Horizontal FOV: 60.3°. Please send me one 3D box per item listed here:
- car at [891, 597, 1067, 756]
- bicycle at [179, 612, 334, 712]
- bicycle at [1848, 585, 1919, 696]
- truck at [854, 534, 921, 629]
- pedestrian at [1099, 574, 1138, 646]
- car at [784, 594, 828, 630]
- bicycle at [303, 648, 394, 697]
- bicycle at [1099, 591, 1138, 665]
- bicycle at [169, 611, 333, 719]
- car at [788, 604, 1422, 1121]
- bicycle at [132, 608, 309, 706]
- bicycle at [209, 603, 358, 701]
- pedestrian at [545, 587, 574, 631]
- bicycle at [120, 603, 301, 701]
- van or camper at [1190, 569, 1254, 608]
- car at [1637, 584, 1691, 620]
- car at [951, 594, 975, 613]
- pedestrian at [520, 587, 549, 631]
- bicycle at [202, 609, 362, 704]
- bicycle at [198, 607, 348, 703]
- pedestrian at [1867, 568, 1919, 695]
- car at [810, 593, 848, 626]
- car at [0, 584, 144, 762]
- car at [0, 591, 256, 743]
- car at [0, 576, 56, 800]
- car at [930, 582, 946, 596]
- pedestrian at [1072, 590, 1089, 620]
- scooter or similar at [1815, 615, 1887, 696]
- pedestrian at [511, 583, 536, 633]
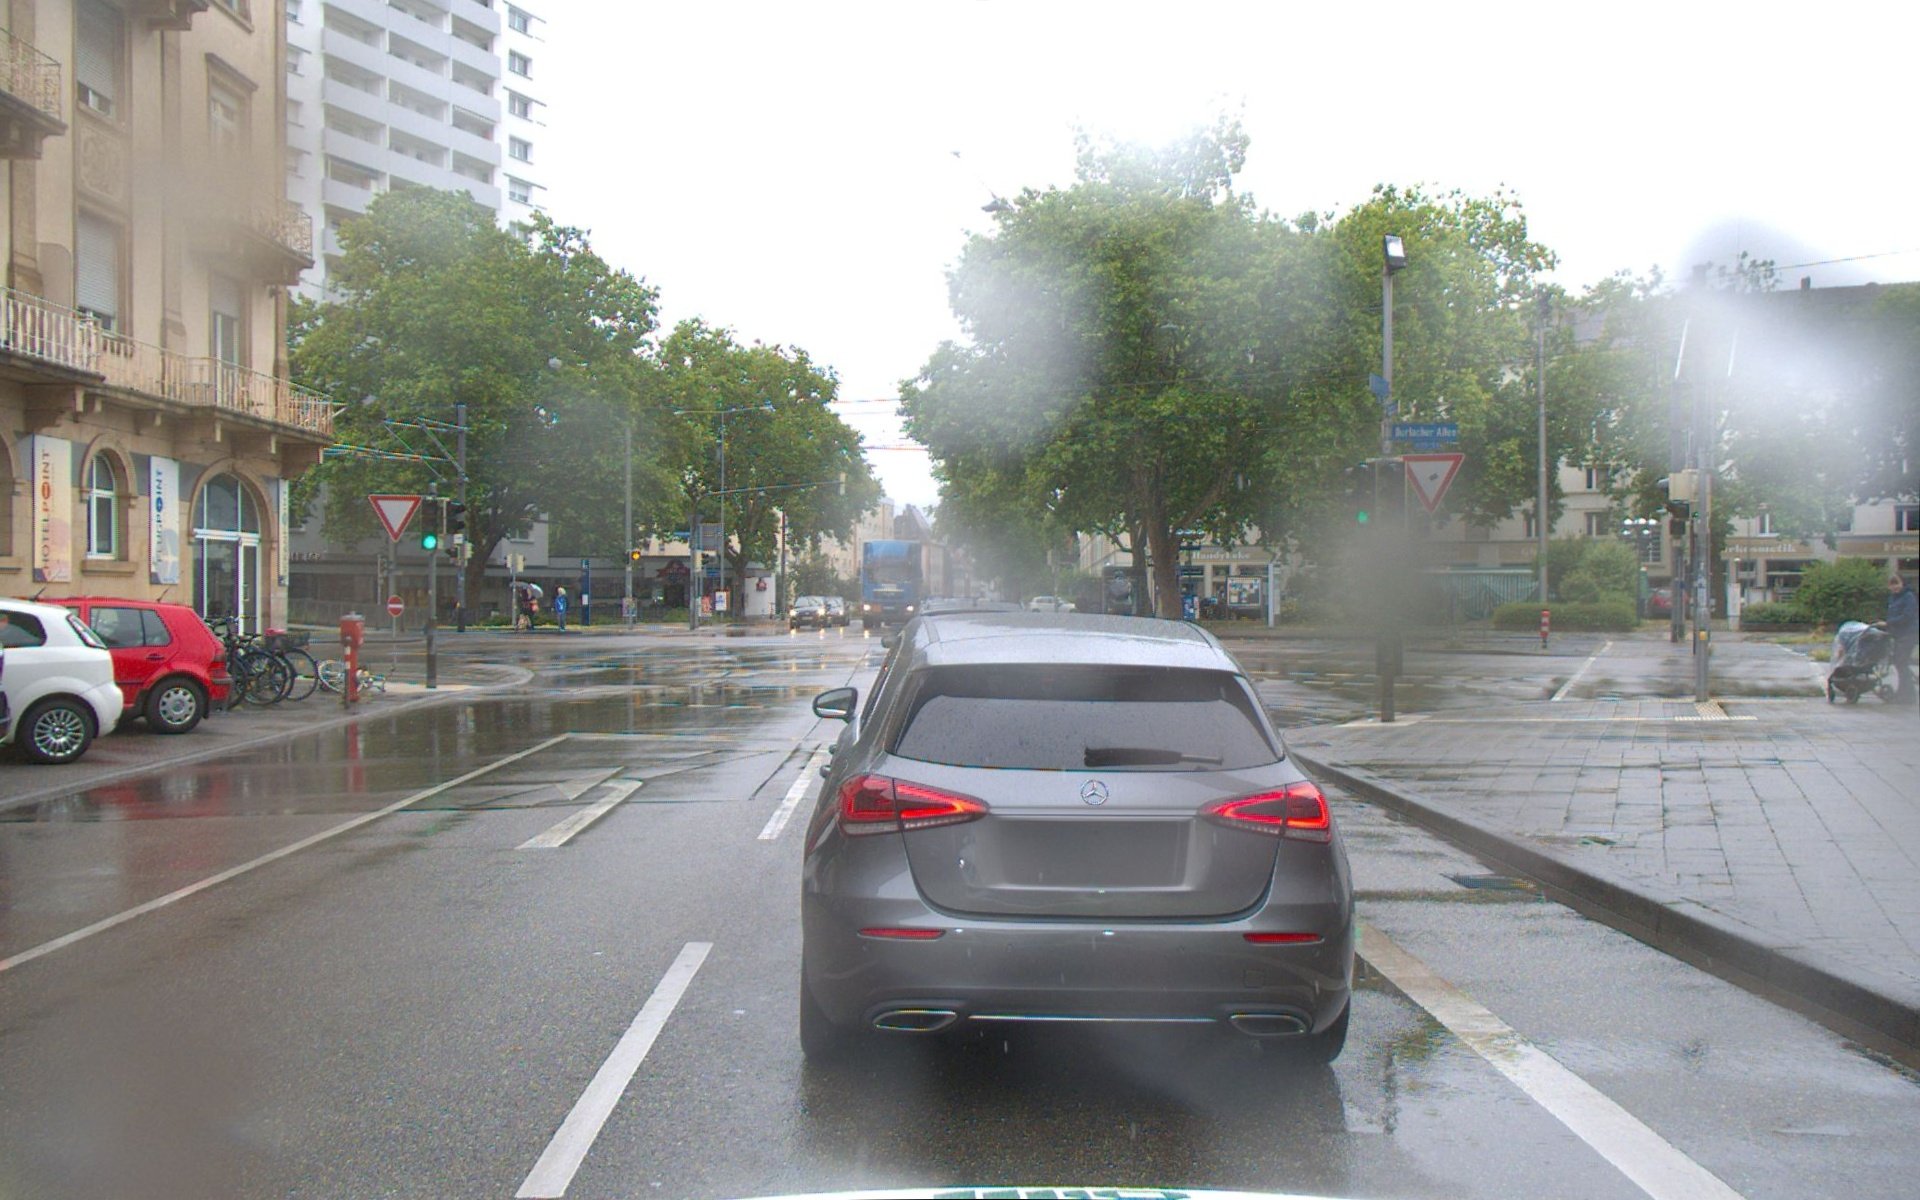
[{"bbox_3d":[0.145,0.691,17.017,1.574,1.396,3.999,-1,0,-1],"label":"car"},{"bbox_3d":[-9.352,0.824,22.018,1.774,1.205,0.475,3,0,-3],"label":"bicycle"},{"bbox_3d":[13.087,0.540,22.678,0.522,1.492,1.935,-1,0,-10],"label":"bicycle"},{"bbox_3d":[-3.253,-0.813,76.745,2.788,4.096,10.313,-1,0,-1],"label":"truck"},{"bbox_3d":[3.191,0.196,33.295,0.728,1.422,1.048,-1,0,6],"label":"pedestrian"},{"bbox_3d":[-6.979,0.539,75.077,1.708,1.573,3.778,-1,0,-1],"label":"car"},{"bbox_3d":[-9.317,1.096,25.157,1.029,0.675,1.462,2,-1,-31],"label":"bicycle"},{"bbox_3d":[3.211,0.536,33.395,0.733,1.401,2.709,-1,0,6],"label":"bicycle"},{"bbox_3d":[-8.963,0.811,20.938,1.772,1.205,0.601,4,0,4],"label":"bicycle"},{"bbox_3d":[0.384,0.739,6.368,1.755,1.396,3.506,1,0,-1],"label":"car"},{"bbox_3d":[-11.021,0.842,24.711,2.295,1.369,0.639,-1,0,-6],"label":"bicycle"},{"bbox_3d":[-9.652,0.736,23.614,1.935,1.353,0.438,-1,0,1],"label":"bicycle"},{"bbox_3d":[-15.559,0.343,64.295,0.817,1.677,0.756,-1,0,14],"label":"pedestrian"},{"bbox_3d":[-10.888,0.745,24.087,2.295,1.369,0.639,-1,0,-6],"label":"bicycle"},{"bbox_3d":[16.115,-0.684,101.486,2.349,2.270,5.424,-1,0,27],"label":"van or camper"},{"bbox_3d":[31.347,0.096,73.705,1.627,1.548,3.682,-1,0,14],"label":"car"},{"bbox_3d":[0.215,0.343,143.033,1.953,1.601,3.998,-1,0,-2],"label":"car"},{"bbox_3d":[-16.604,0.345,64.538,0.774,1.677,0.817,-1,0,14],"label":"pedestrian"},{"bbox_3d":[-9.438,0.783,23.058,1.941,1.205,0.474,3,0,-4],"label":"bicycle"},{"bbox_3d":[-9.344,0.744,22.523,1.774,1.205,0.468,3,0,-3],"label":"bicycle"},{"bbox_3d":[12.765,0.412,22.391,0.590,1.692,0.689,-1,0,2],"label":"pedestrian"},{"bbox_3d":[-6.608,0.473,83.788,1.691,1.573,4.339,-1,0,-1],"label":"car"},{"bbox_3d":[-9.697,0.631,14.852,3.958,1.560,1.679,1,0,-41],"label":"car"},{"bbox_3d":[-9.943,0.678,17.839,1.771,1.534,3.977,0,0,41],"label":"car"},{"bbox_3d":[-9.218,0.642,12.362,4.048,1.721,1.738,1,0,-41],"label":"car"},{"bbox_3d":[-2.937,-1.440,218.610,1.850,1.868,4.001,-1,0,3],"label":"car"},{"bbox_3d":[6.950,0.305,95.421,0.659,1.698,0.708,0,-1,-42],"label":"pedestrian"},{"bbox_3d":[12.215,0.746,22.699,0.502,1.067,0.924,-1,0,2],"label":"scooter or similar"},{"bbox_3d":[-16.375,0.303,62.076,0.674,1.870,0.630,-1,0,-43],"label":"pedestrian"}]
